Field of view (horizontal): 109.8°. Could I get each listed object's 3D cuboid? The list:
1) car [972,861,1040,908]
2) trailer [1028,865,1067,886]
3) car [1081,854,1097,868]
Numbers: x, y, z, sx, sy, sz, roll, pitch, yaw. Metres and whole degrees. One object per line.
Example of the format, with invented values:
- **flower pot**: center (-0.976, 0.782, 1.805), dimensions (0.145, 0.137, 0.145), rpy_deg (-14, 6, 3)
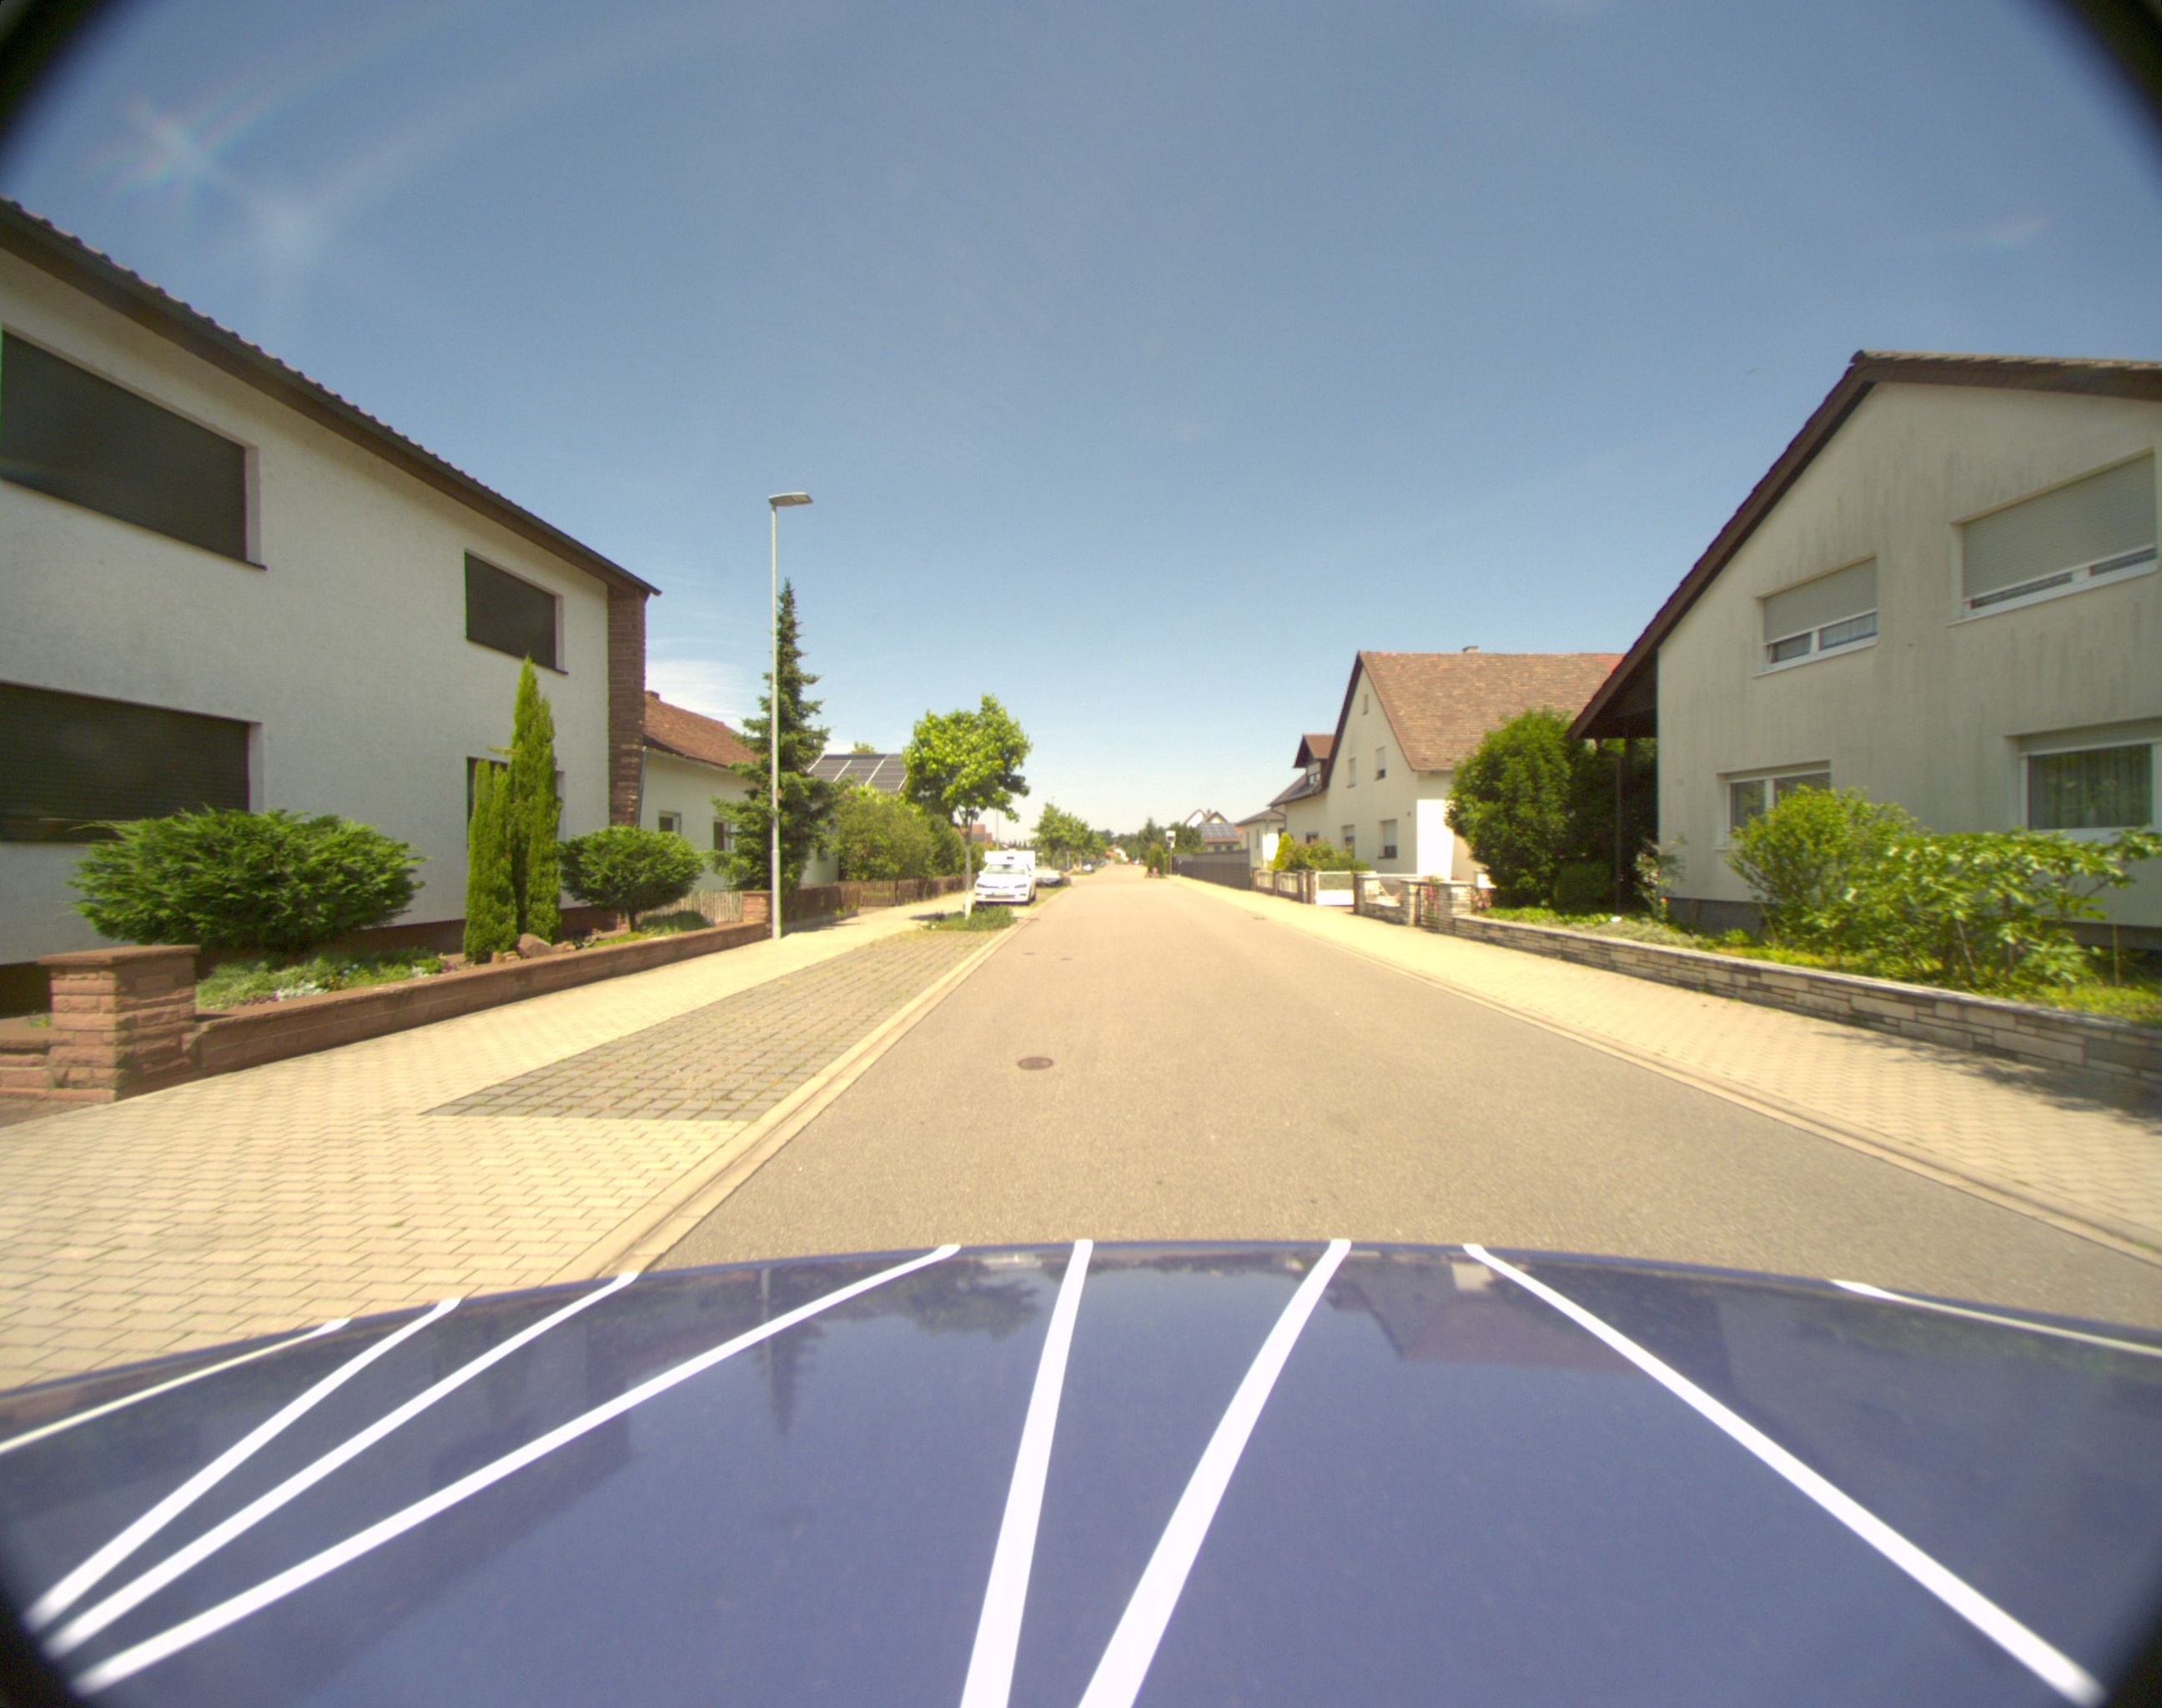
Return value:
- **car**: center (-2.424, 0.946, 25.361), dimensions (1.819, 1.412, 3.868), rpy_deg (0, 0, 1)
- **trailer**: center (-1.755, 1.114, 40.122), dimensions (1.792, 1.052, 2.899), rpy_deg (0, 0, 3)
- **car**: center (0.990, 0.804, 93.180), dimensions (1.597, 1.630, 3.804), rpy_deg (-1, 0, 5)
